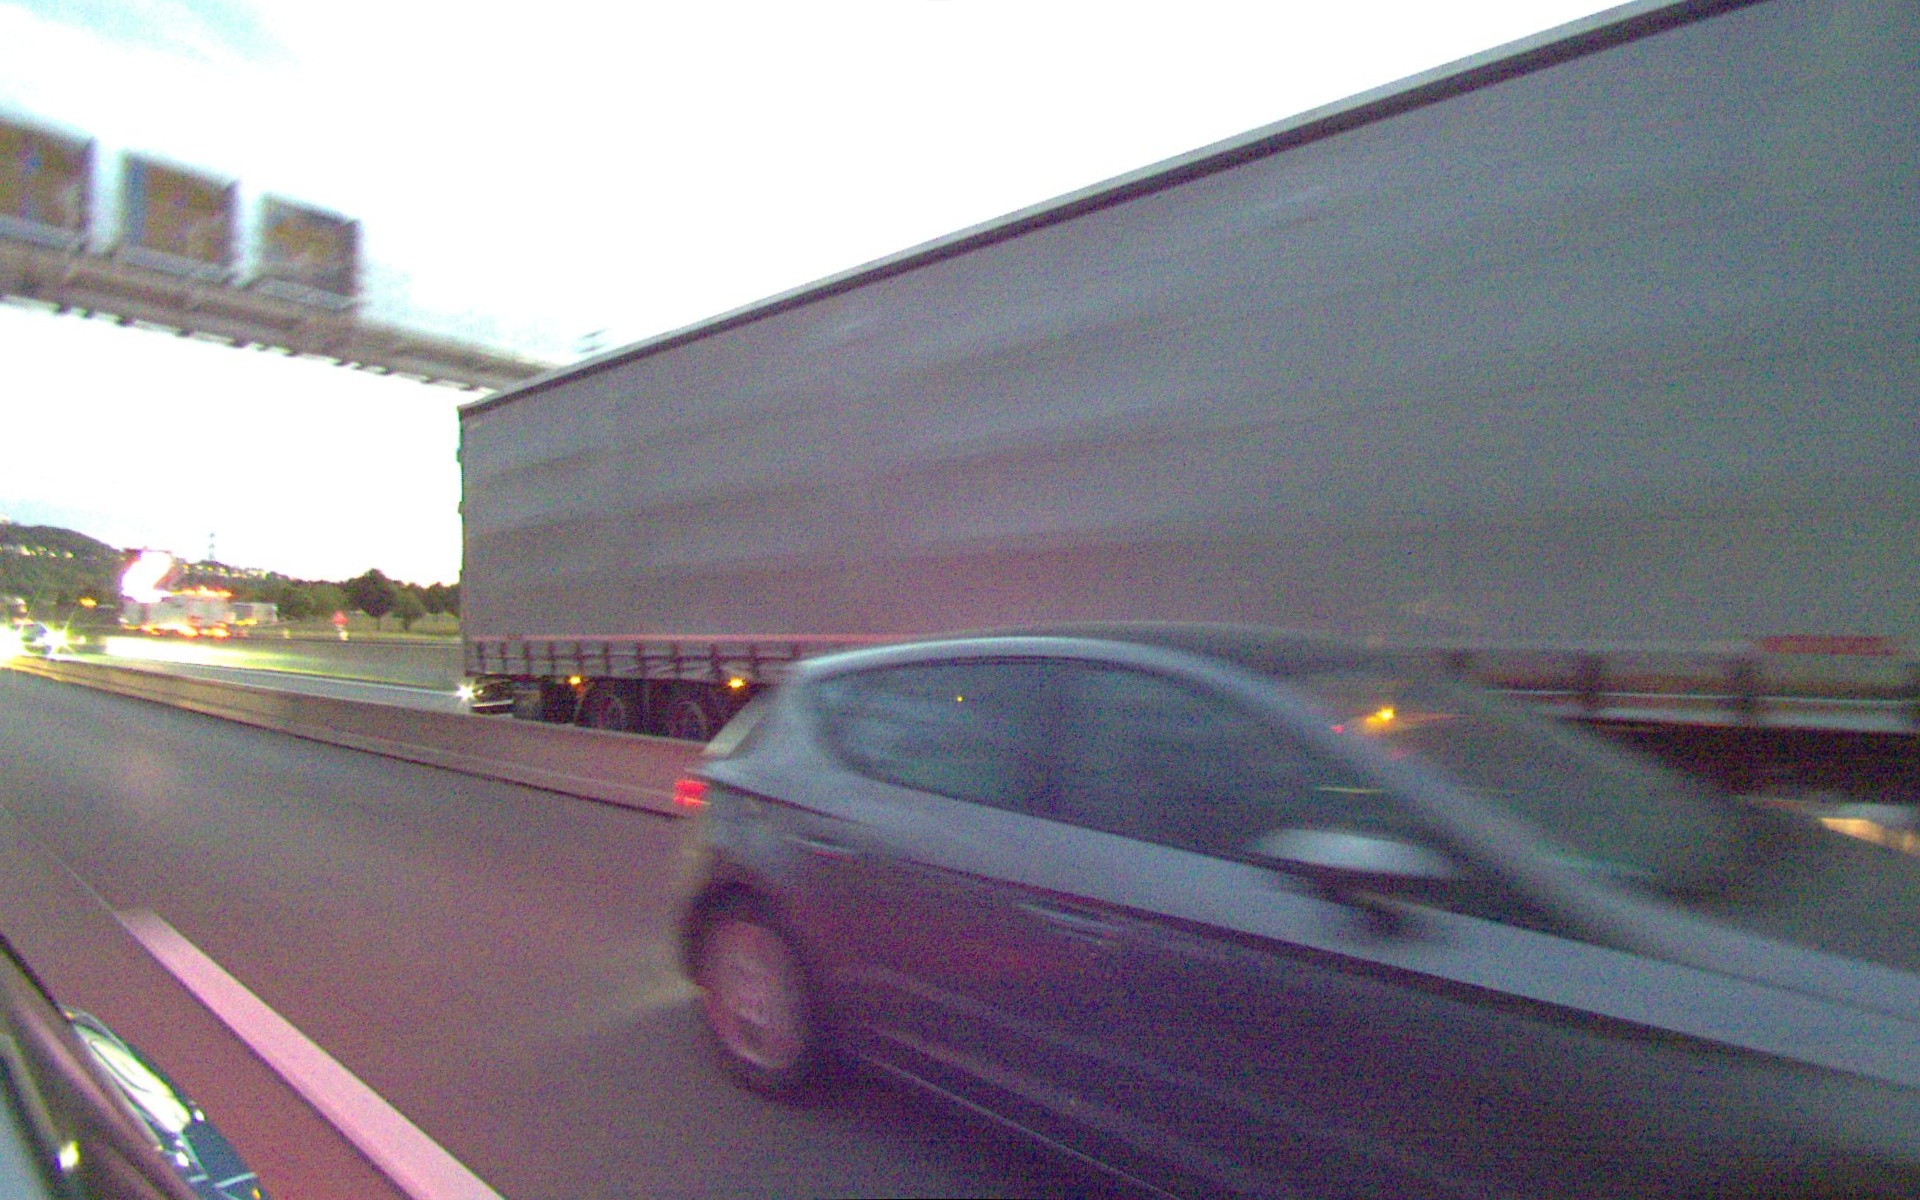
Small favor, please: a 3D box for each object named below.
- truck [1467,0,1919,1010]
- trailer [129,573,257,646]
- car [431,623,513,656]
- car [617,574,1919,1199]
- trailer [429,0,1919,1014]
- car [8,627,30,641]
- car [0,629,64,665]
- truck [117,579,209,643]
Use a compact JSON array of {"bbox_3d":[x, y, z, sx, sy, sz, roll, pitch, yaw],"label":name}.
[{"bbox_3d":[5.481,-0.630,3.557,6.100,4.124,2.748,-1,-2,41],"label":"truck"},{"bbox_3d":[-68.051,0.917,89.455,19.204,5.829,5.248,-1,0,41],"label":"trailer"},{"bbox_3d":[-20.787,1.631,43.039,3.998,1.298,1.714,-1,0,41],"label":"car"},{"bbox_3d":[1.150,0.714,2.508,4.725,1.482,1.704,-1,0,42],"label":"car"},{"bbox_3d":[-0.005,-0.501,8.392,14.518,4.116,2.765,-1,-2,41],"label":"trailer"},{"bbox_3d":[-143.019,5.108,153.802,3.998,2.029,1.973,-1,0,41],"label":"car"},{"bbox_3d":[-42.222,2.092,45.795,5.391,1.448,1.796,-1,0,40],"label":"car"},{"bbox_3d":[-76.312,1.065,96.794,9.639,5.834,5.263,-1,0,41],"label":"truck"}]
